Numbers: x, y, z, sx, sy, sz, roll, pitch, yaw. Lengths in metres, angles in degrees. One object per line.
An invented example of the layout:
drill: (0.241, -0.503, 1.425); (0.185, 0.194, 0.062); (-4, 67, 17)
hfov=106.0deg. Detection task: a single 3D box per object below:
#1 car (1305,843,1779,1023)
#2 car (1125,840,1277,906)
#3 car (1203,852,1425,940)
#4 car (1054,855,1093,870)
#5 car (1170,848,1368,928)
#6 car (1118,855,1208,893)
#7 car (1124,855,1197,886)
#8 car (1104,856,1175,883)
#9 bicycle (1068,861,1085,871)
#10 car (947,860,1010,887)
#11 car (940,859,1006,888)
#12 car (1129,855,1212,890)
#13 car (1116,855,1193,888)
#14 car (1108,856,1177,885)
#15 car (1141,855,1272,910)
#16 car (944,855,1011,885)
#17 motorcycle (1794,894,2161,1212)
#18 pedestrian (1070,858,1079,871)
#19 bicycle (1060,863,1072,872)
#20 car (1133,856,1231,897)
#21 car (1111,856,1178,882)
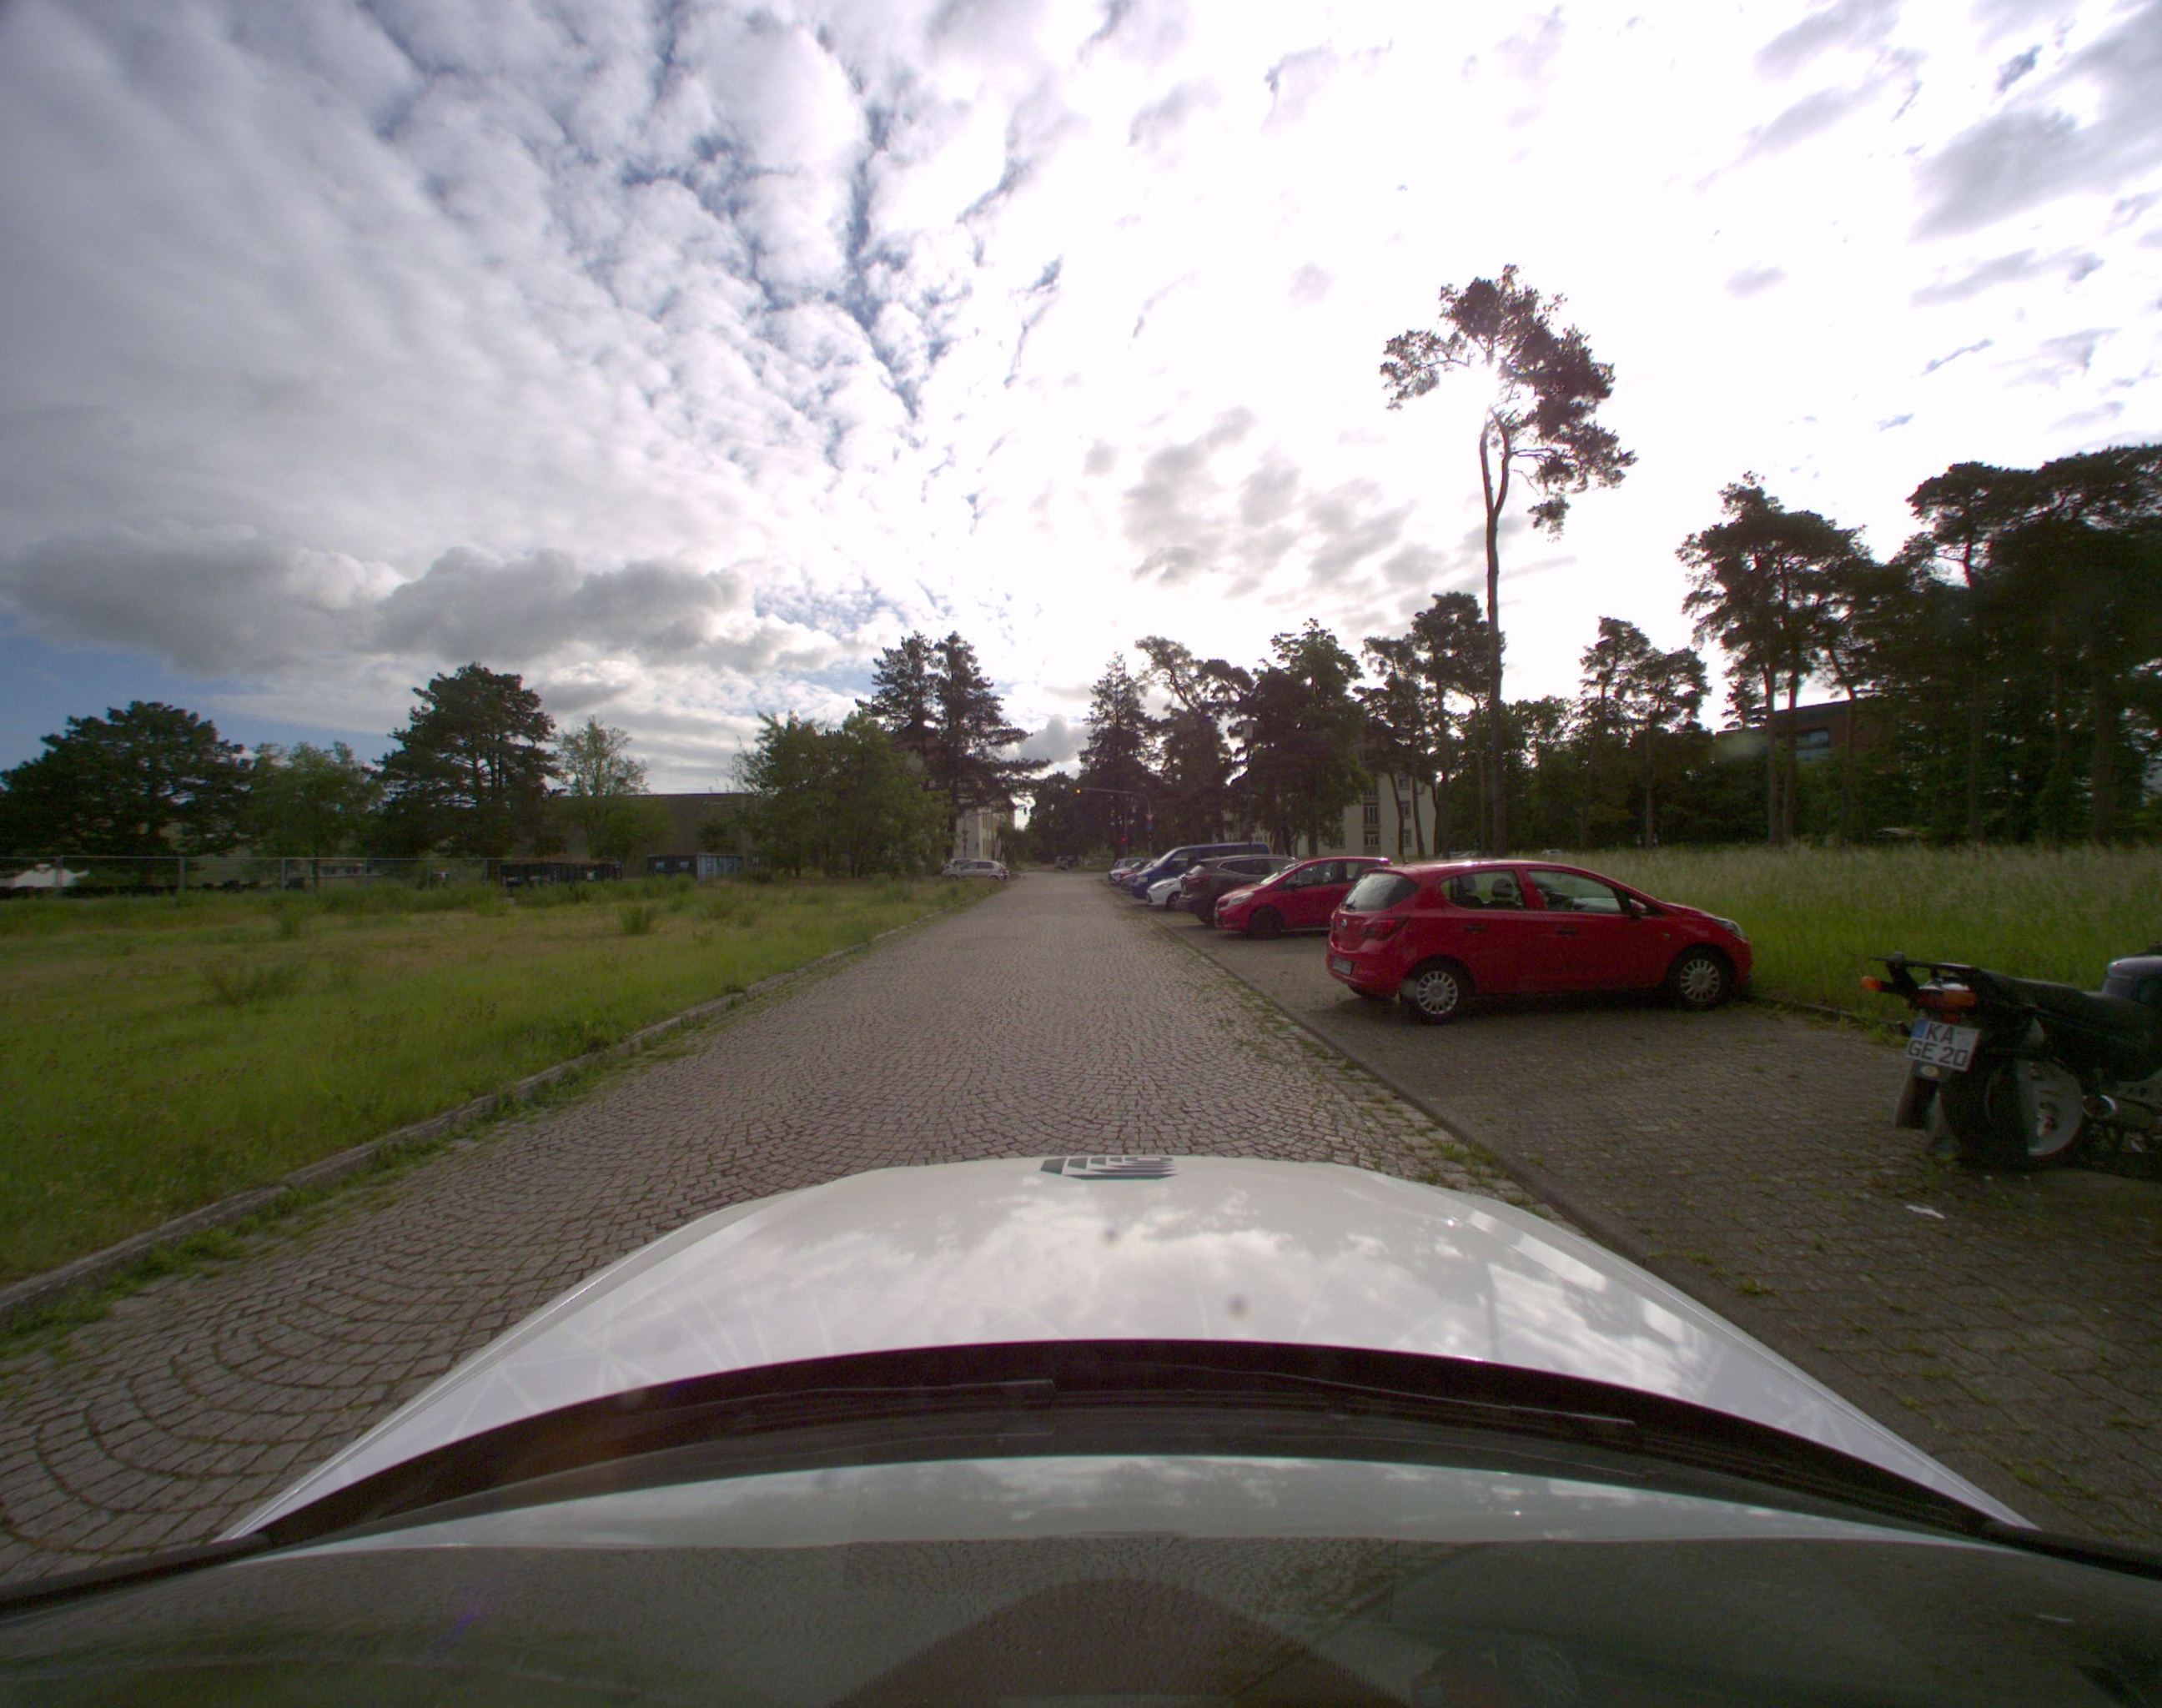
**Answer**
car: (4.469, 0.721, 8.319); (3.816, 1.460, 1.778); (-2, -1, -2)
car: (3.974, 0.616, 27.514); (4.744, 1.954, 1.929); (-2, -1, -4)
car: (4.442, 0.774, 15.907); (3.781, 1.460, 1.750); (-2, -1, -2)
car: (-1.094, 1.230, 117.984); (5.447, 2.014, 2.260); (0, -1, -11)
car: (4.194, 0.737, 18.550); (4.020, 1.552, 1.748); (-2, -1, -4)
car: (3.551, 0.873, 35.555); (3.664, 1.449, 1.522); (-2, -1, -3)
car: (4.218, 0.881, 43.553); (3.664, 1.449, 1.522); (-2, -1, -3)
car: (3.474, 0.935, 48.638); (3.962, 1.421, 1.616); (-2, -1, -6)
bicycle: (-0.543, 1.511, 100.088); (2.134, 1.215, 0.621); (0, -1, -6)
car: (-6.585, 1.230, 52.337); (3.812, 1.572, 1.563); (-2, -1, -2)
car: (-6.585, 1.175, 49.921); (3.815, 1.572, 1.562); (-2, -1, -5)
car: (4.197, 0.865, 38.562); (3.664, 1.449, 1.522); (-2, -1, -3)
car: (3.671, 0.872, 41.253); (3.664, 1.449, 1.522); (-2, -1, -3)
car: (3.438, 0.911, 45.782); (3.667, 1.421, 1.521); (-2, -1, -6)
car: (3.781, 0.855, 24.913); (3.665, 1.449, 1.612); (-2, -1, -4)
car: (-6.990, 1.097, 55.314); (4.251, 1.840, 1.742); (-2, -1, -2)
motorcycle: (4.815, 0.832, 3.818); (2.322, 1.186, 0.794); (-2, -1, -4)
pedestrian: (-0.751, 1.317, 100.427); (1.032, 1.614, 0.756); (0, -1, -6)
bicycle: (-1.773, 1.588, 95.982); (0.623, 0.945, 1.647); (0, -1, -29)
car: (4.023, 0.877, 32.790); (3.664, 1.449, 1.522); (-2, -1, -3)
car: (3.996, 0.924, 51.304); (3.962, 1.421, 1.616); (-2, -1, -6)
